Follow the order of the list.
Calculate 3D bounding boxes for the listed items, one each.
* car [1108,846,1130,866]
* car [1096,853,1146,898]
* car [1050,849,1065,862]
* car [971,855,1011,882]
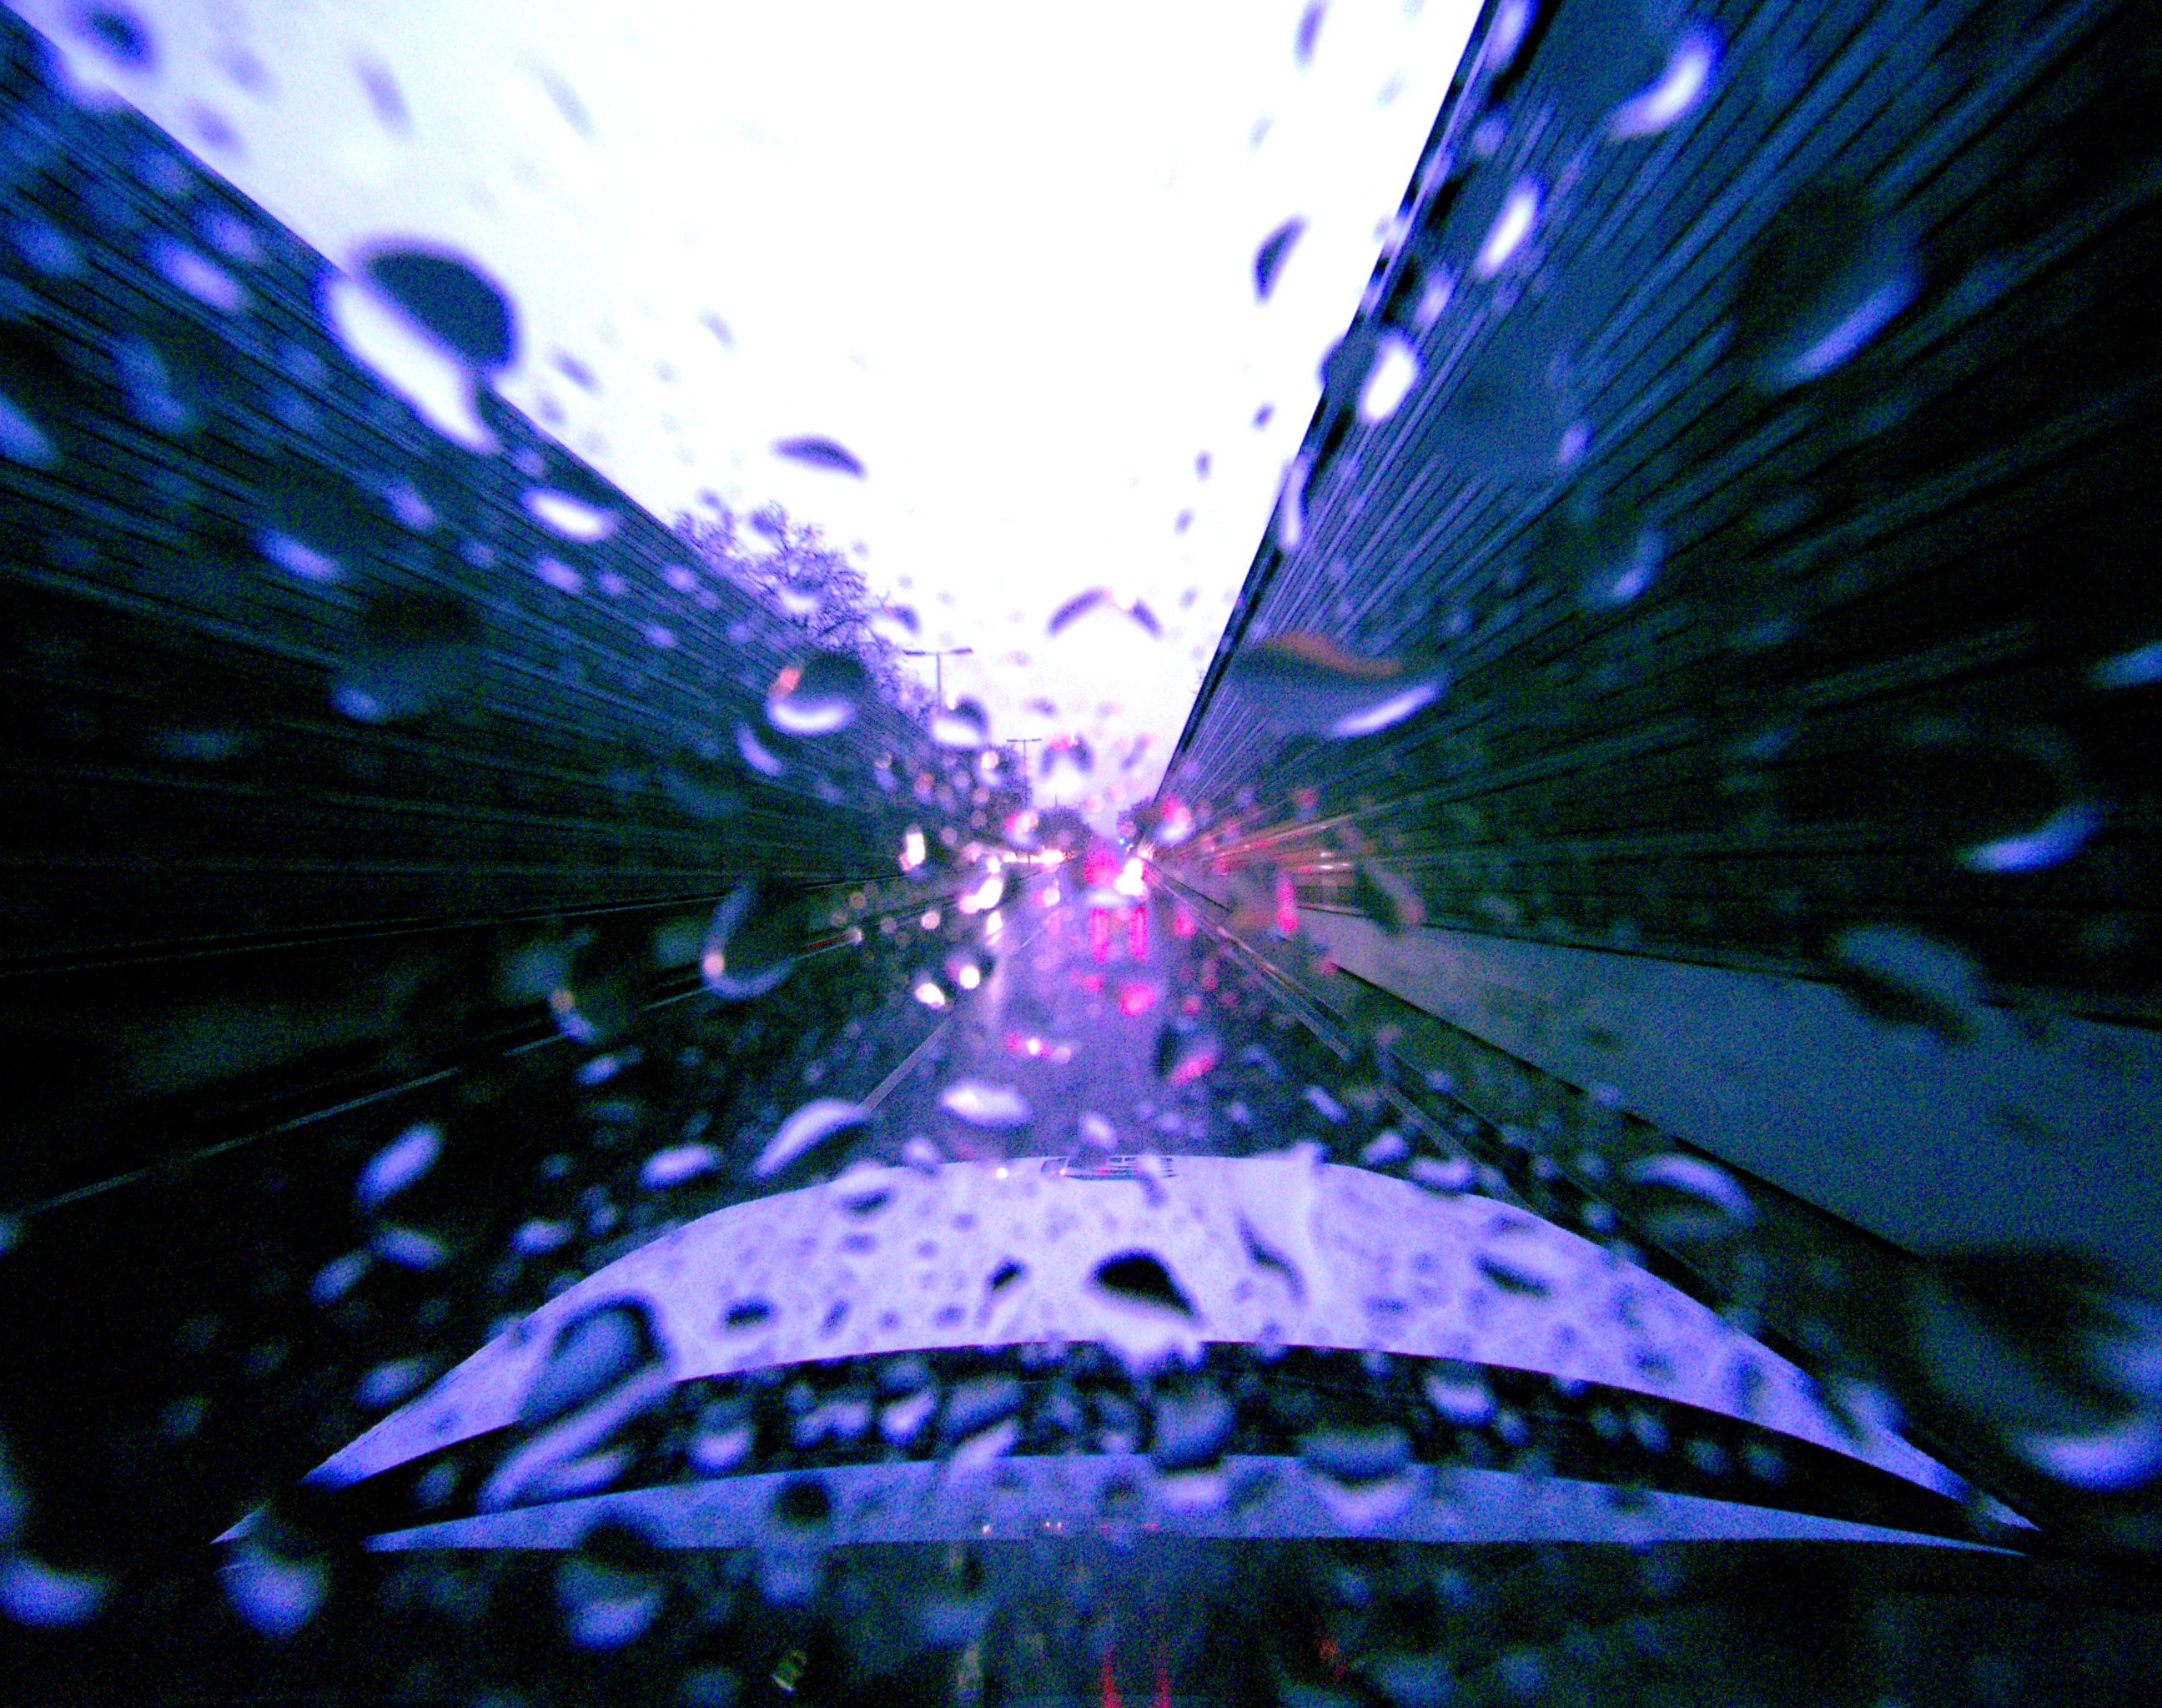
[{"bbox_3d":[3.370,0.224,73.350,1.874,1.621,3.999,-1,-2,1],"label":"car"},{"bbox_3d":[1.329,0.707,27.101,1.525,1.397,3.436,-1,-1,3],"label":"car"},{"bbox_3d":[-2.991,0.207,104.642,1.565,1.470,3.689,-2,1,2],"label":"car"},{"bbox_3d":[-5.717,0.956,52.082,1.872,1.621,4.002,-1,-2,3],"label":"car"}]
